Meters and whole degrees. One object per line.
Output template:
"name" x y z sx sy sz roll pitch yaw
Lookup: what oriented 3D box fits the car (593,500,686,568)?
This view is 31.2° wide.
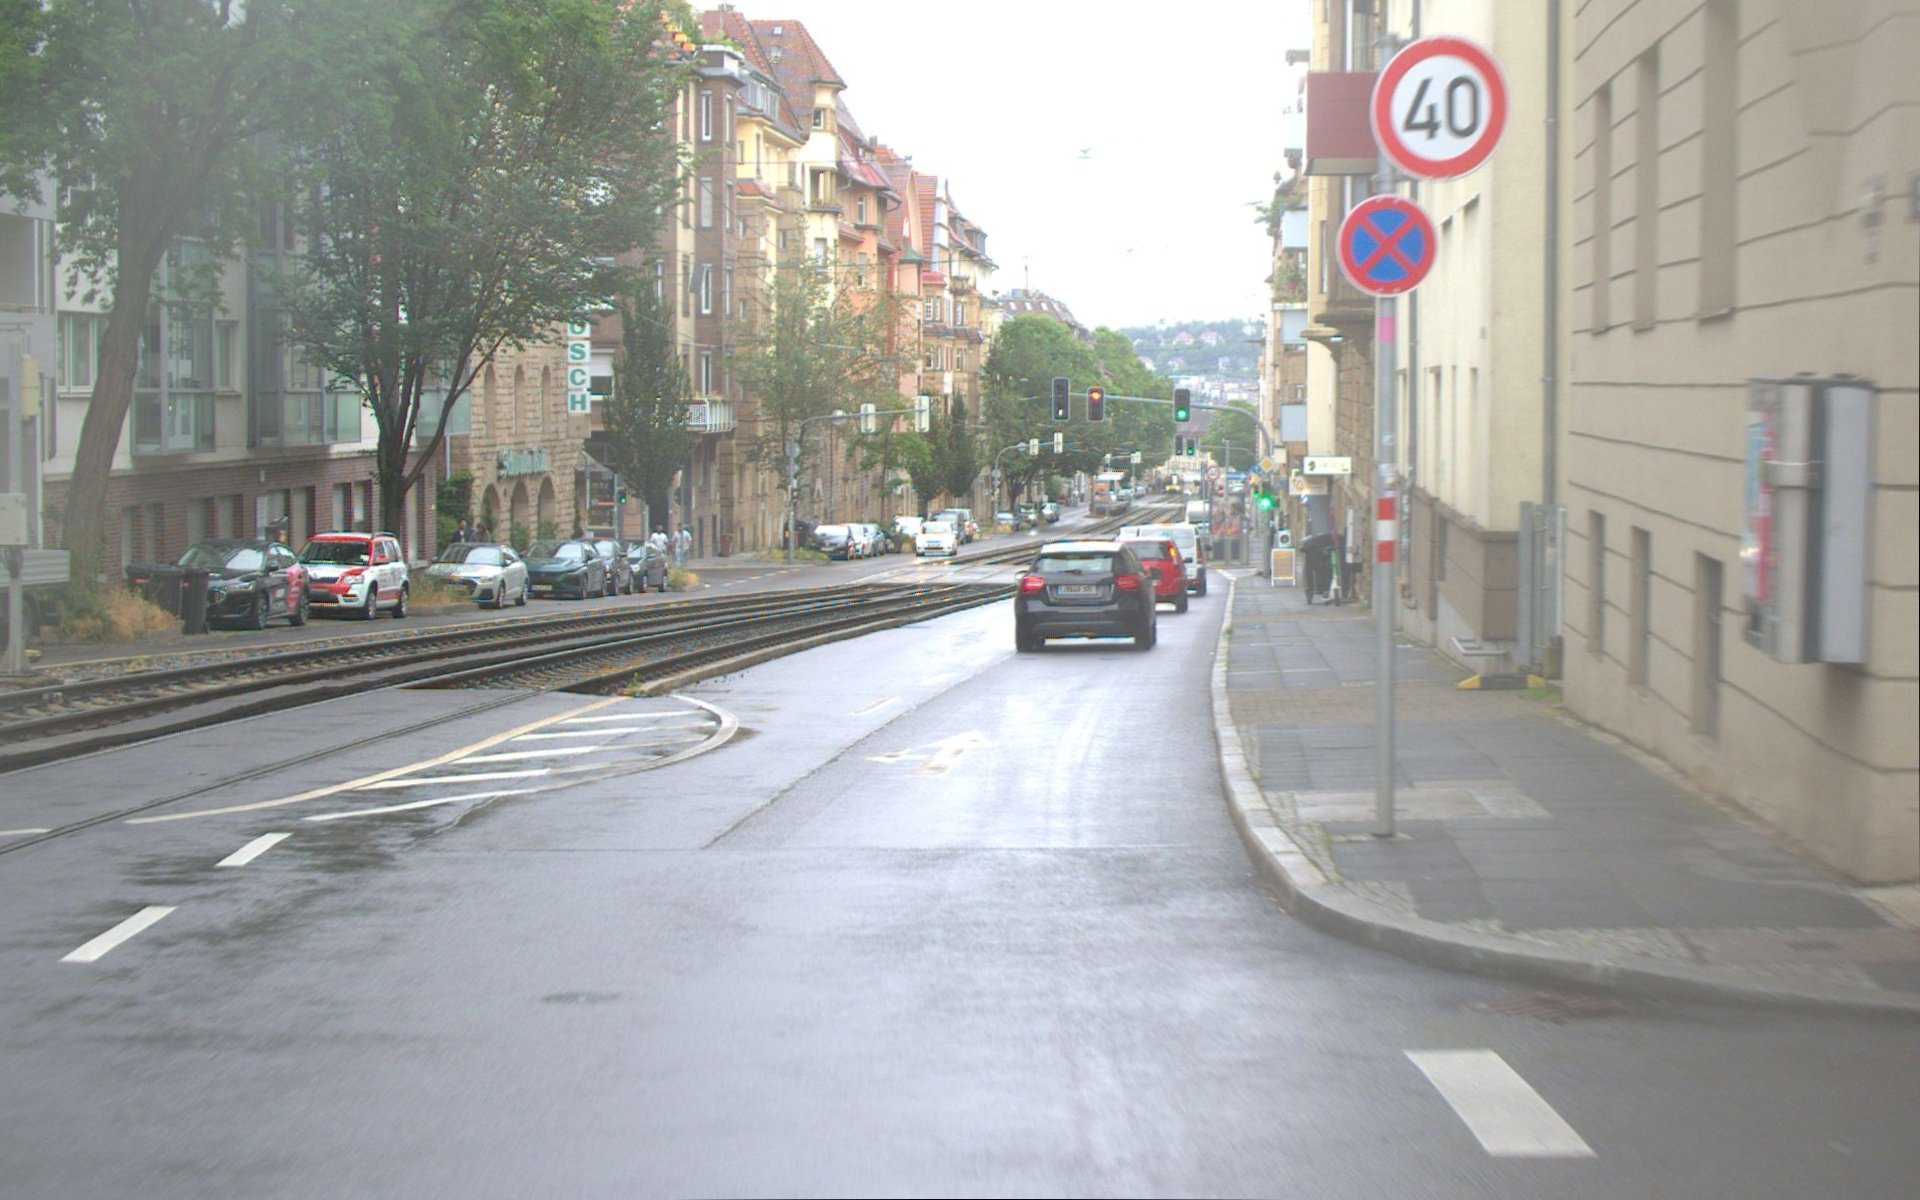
"car" -8.791 -1.832 94.560 1.863 1.809 4.000 0 1 5

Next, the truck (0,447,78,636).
"truck" -13.262 -0.729 43.099 2.052 2.385 6.319 0 1 7

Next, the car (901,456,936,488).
"car" -2.695 -8.324 223.054 1.994 2.007 4.000 0 1 3

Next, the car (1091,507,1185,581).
"car" 3.633 -1.137 70.487 1.852 1.468 4.000 0 1 3

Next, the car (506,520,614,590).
"car" -9.779 -1.112 84.238 1.773 1.614 4.255 -2 1 5

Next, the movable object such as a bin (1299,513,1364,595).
"movable object such as a bin" 7.677 -0.954 71.146 1.168 1.649 1.309 -2 1 1

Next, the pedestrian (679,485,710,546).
"pedestrian" -8.816 -2.804 114.082 0.872 2.007 0.704 -2 0 3

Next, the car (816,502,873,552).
"car" -4.870 -3.076 145.264 1.994 2.007 4.346 -2 0 3

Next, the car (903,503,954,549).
"car" -1.394 -3.290 153.127 1.994 2.007 4.346 0 1 3

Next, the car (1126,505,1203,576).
"car" 5.338 -1.541 90.034 1.949 1.787 4.144 0 1 3

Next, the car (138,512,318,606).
"car" -12.080 -0.678 56.970 1.773 1.448 4.255 -2 1 4

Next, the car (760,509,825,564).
"car" -6.318 -2.390 130.266 1.994 2.007 4.346 -2 0 3

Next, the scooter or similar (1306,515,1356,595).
"scooter or similar" 7.509 -0.912 69.647 0.918 1.599 0.862 0 1 0

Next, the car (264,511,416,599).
"car" -11.527 -0.851 64.193 1.773 1.541 4.255 -2 1 4

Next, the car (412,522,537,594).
"car" -10.635 -0.923 75.595 1.773 1.483 4.255 -2 1 5

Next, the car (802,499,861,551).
"car" -5.230 -3.040 140.232 1.994 2.007 4.346 -2 0 3

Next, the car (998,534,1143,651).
"car" 1.514 -0.137 46.045 1.852 1.468 4.000 0 1 3
